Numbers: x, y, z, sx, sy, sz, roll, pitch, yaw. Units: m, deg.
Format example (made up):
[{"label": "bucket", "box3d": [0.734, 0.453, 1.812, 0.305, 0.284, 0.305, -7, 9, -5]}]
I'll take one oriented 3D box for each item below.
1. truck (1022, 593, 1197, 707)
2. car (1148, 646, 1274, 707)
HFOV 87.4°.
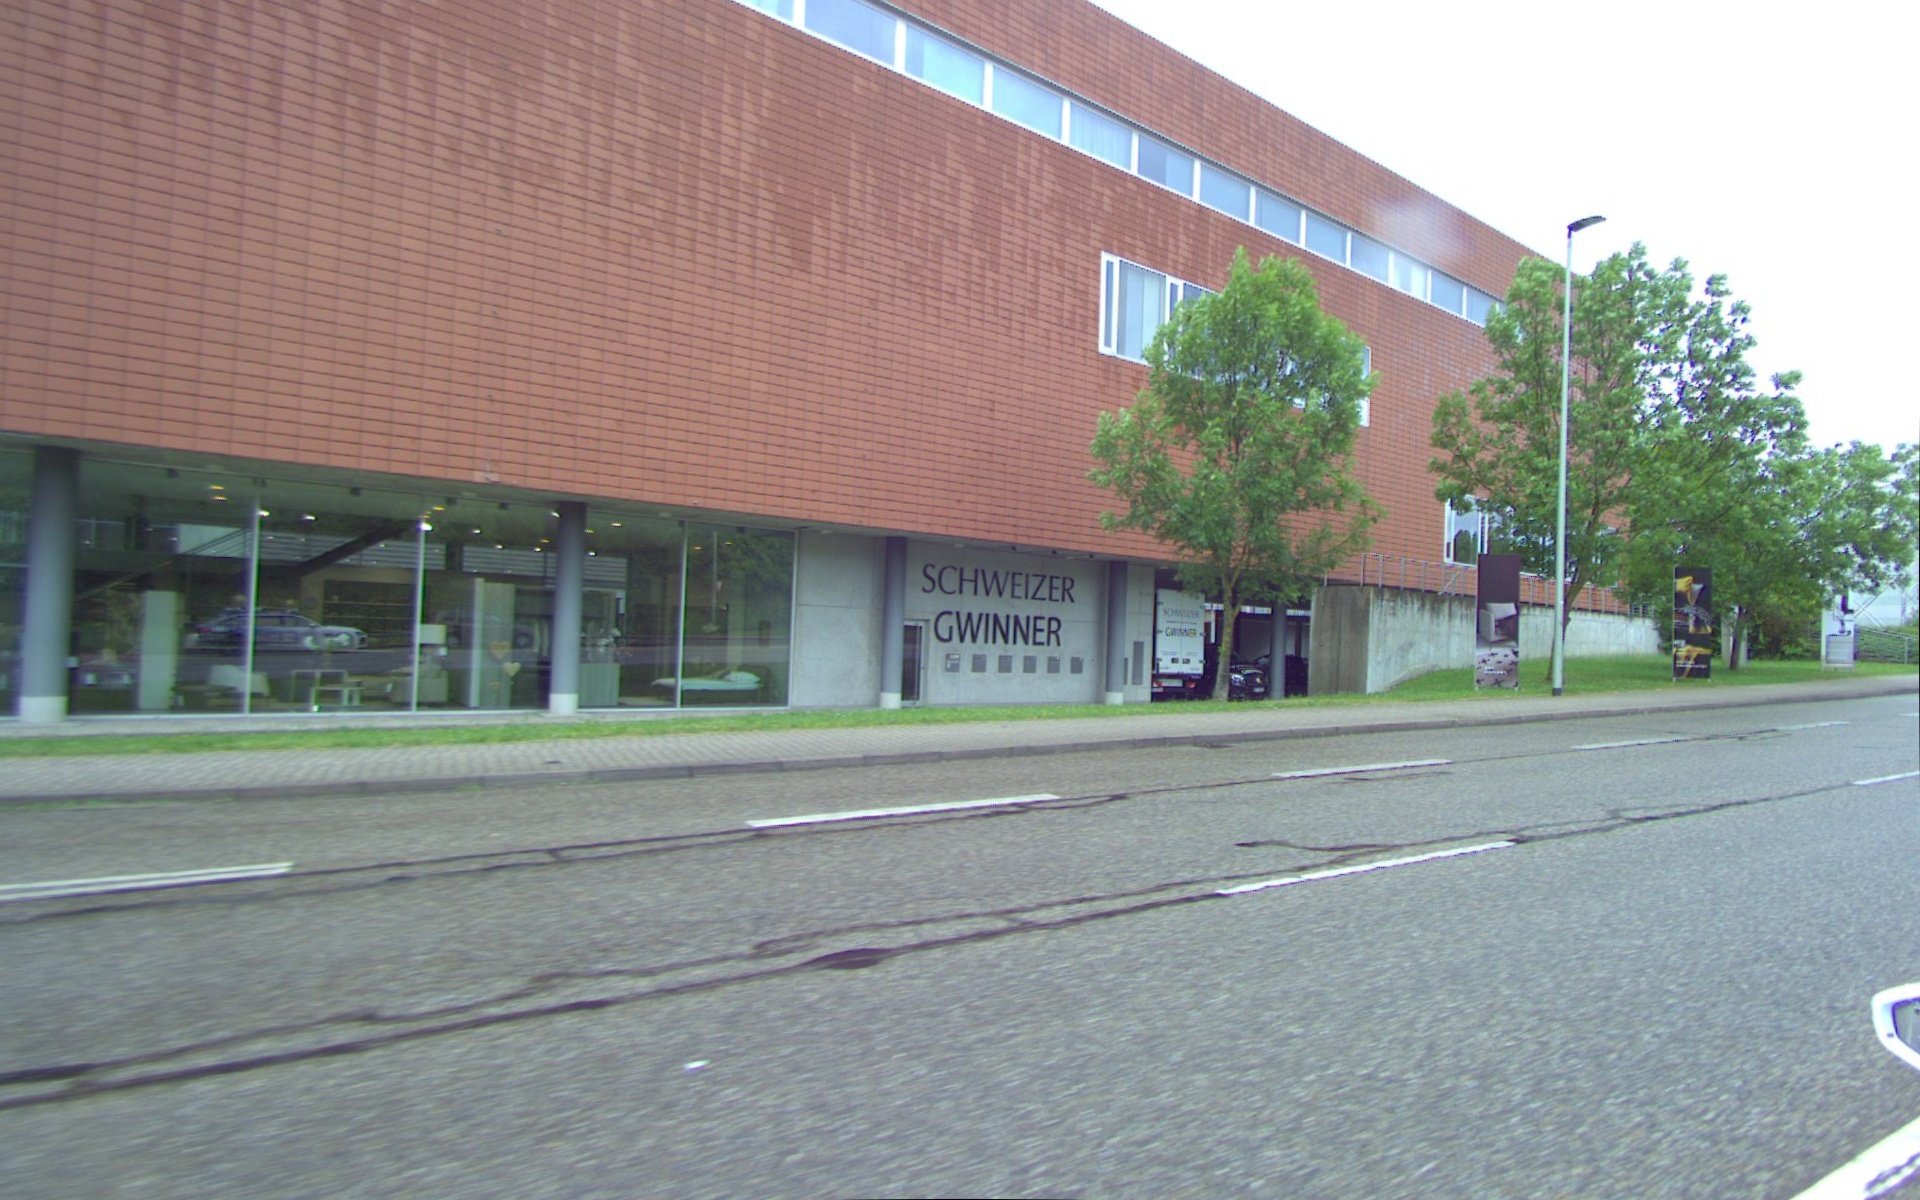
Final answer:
[{"label": "truck", "box3d": [4.720, 1.579, 32.805, 2.004, 3.351, 6.094, 2, -2, -35]}, {"label": "car", "box3d": [8.208, 2.455, 33.116, 1.663, 1.773, 4.018, 1, -2, -32]}]
